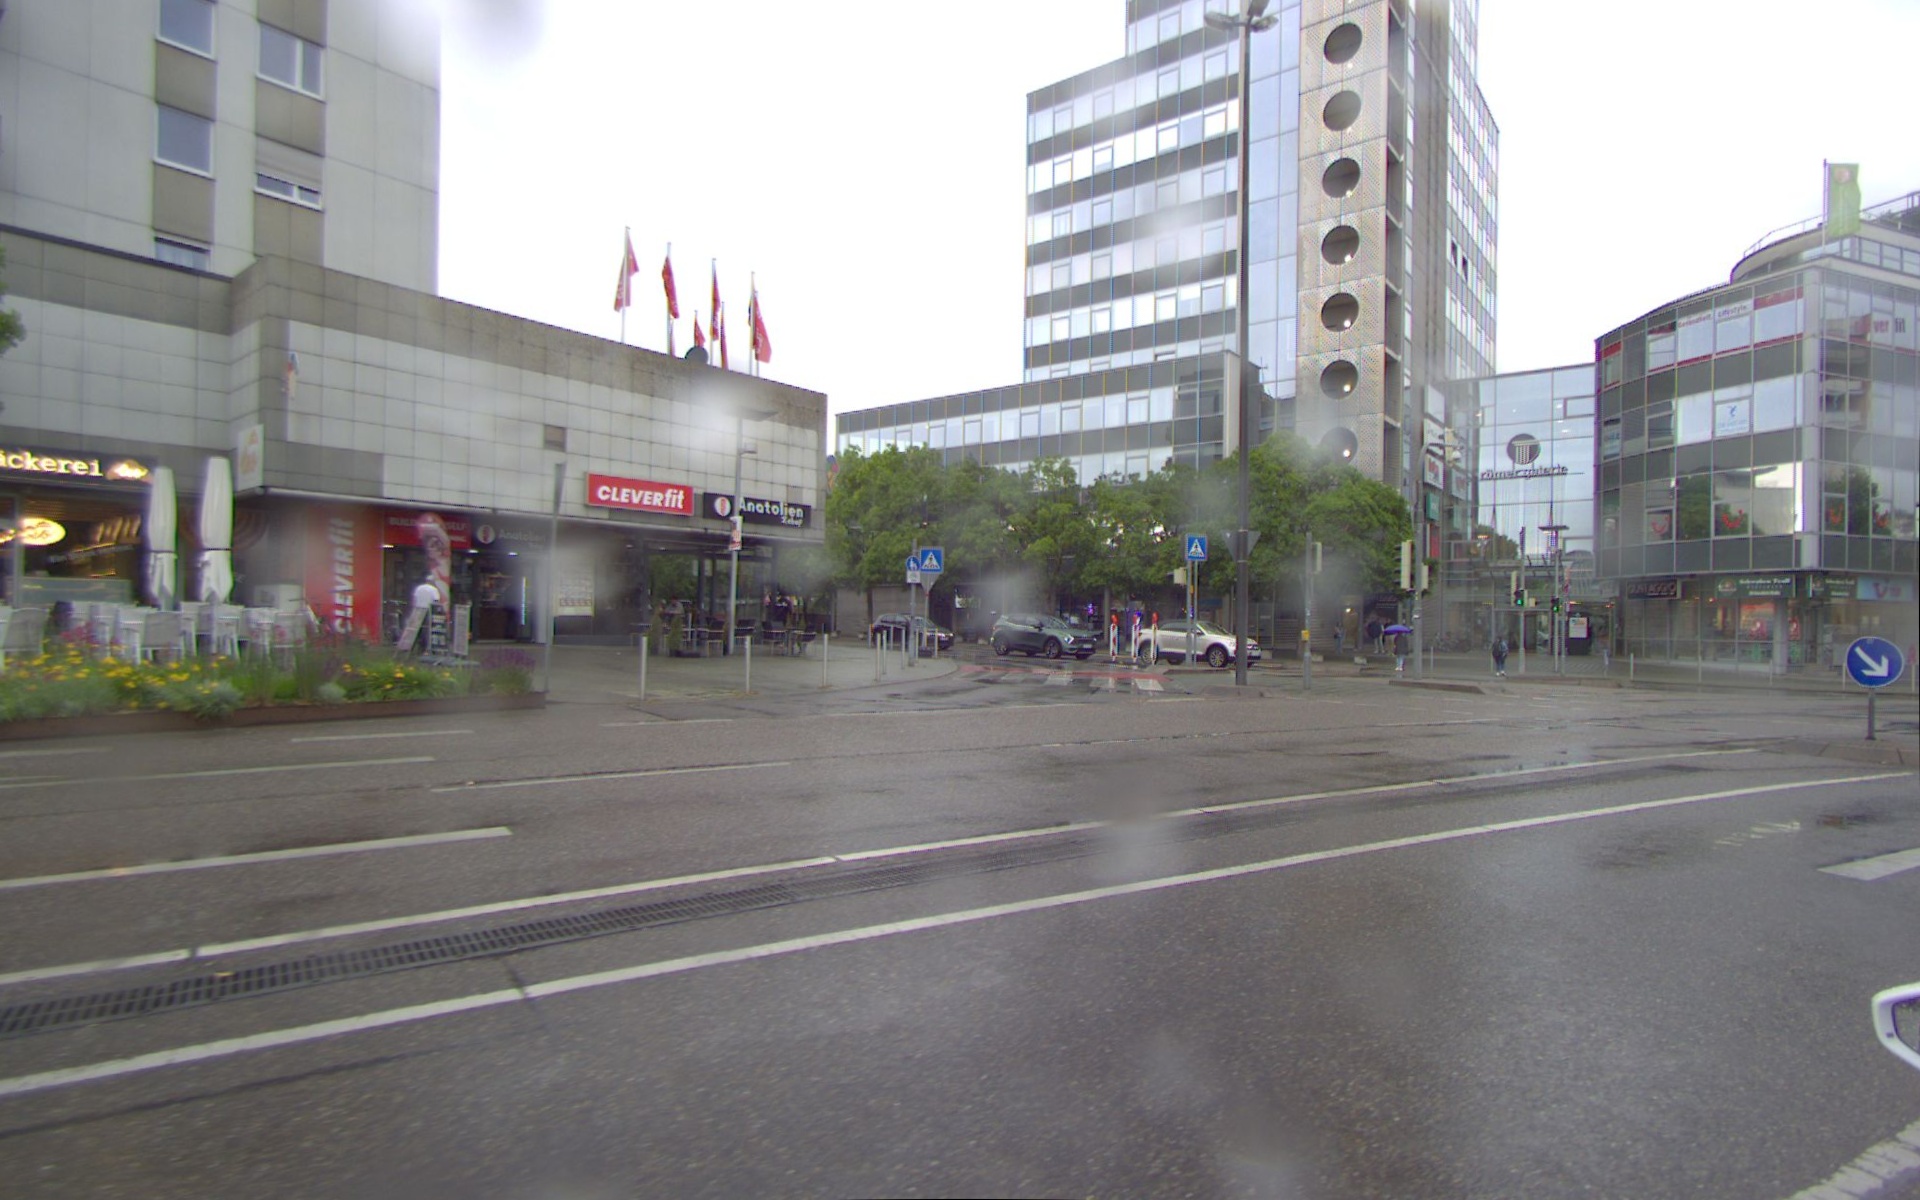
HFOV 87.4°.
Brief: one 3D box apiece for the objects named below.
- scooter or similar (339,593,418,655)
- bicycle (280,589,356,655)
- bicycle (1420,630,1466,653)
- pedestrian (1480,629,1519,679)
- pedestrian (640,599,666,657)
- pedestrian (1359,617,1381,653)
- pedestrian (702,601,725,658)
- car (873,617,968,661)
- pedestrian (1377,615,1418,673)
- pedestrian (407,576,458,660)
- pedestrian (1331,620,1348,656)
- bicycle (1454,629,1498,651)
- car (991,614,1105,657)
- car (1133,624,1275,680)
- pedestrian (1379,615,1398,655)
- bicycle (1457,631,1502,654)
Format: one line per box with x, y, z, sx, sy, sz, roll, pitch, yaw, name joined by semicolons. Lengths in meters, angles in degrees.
-11.902;0.466;20.526;2.556;1.190;0.639;1;-1;43;scooter or similar
-13.029;0.420;20.360;2.518;1.239;0.692;1;0;44;bicycle
27.389;2.364;57.011;2.245;1.263;0.674;0;-2;38;bicycle
20.438;2.036;38.077;1.009;1.843;0.844;1;-2;-20;pedestrian
-7.342;0.673;24.043;0.528;1.365;0.495;2;-1;-17;pedestrian
21.636;1.842;53.025;0.741;1.892;0.831;1;-1;-15;pedestrian
-6.001;0.722;24.452;0.528;1.365;0.496;1;0;-15;pedestrian
-1.725;1.628;42.914;1.858;1.616;3.947;2;1;-44;car
15.934;1.573;36.582;1.145;2.040;1.325;1;-1;32;pedestrian
-11.006;0.382;20.983;0.702;1.715;0.656;1;0;-5;pedestrian
20.300;2.035;53.715;0.738;1.892;0.834;1;-1;12;pedestrian
31.037;2.419;60.409;2.245;1.263;0.674;0;-2;38;bicycle
3.261;1.301;37.743;1.858;1.439;4.005;2;-1;-44;car
7.909;1.641;32.820;4.148;1.616;1.859;0;-1;44;car
22.248;1.818;52.157;0.703;2.040;0.762;1;0;37;pedestrian
30.242;2.473;58.529;2.245;1.263;0.674;0;-2;38;bicycle
